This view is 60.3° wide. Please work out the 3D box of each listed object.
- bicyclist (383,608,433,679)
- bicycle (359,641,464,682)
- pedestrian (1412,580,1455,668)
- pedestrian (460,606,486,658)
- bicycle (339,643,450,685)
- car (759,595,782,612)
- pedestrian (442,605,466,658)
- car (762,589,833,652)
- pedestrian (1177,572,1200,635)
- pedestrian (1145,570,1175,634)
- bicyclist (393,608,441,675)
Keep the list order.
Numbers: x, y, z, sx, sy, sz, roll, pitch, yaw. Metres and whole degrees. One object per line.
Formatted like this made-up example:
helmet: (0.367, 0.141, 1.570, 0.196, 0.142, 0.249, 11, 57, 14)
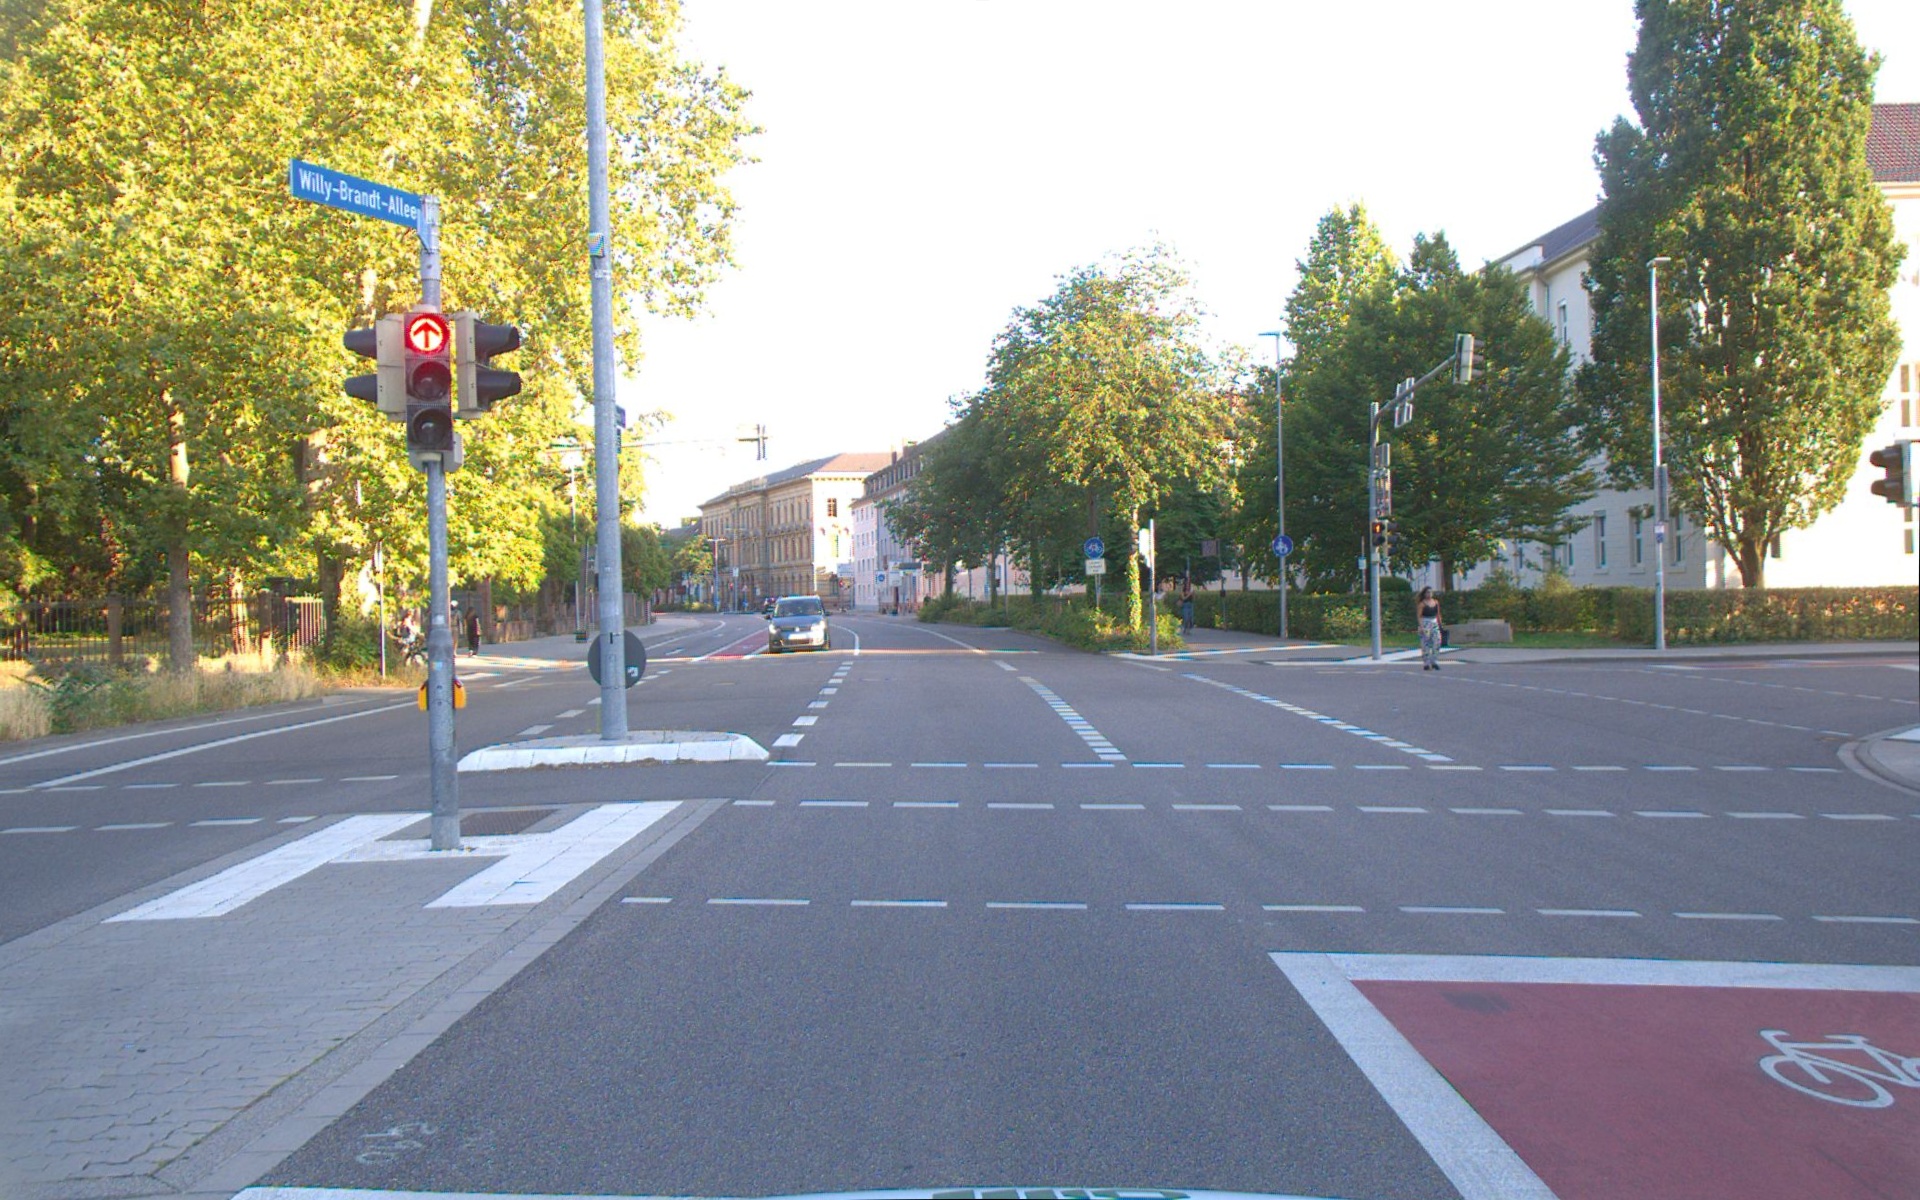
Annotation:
bicyclist: (-13.376, 1.043, 40.104, 0.938, 1.659, 0.752, -1, 0, -1)
bicycle: (-13.871, 1.545, 41.849, 2.380, 0.940, 0.775, -1, 0, 0)
pedestrian: (9.112, 0.448, 31.832, 0.588, 1.664, 0.691, 0, 0, -5)
pedestrian: (-15.107, 0.984, 51.354, 0.587, 1.601, 0.646, -1, 0, -1)
bicycle: (-13.696, 1.548, 40.096, 2.380, 0.940, 0.775, -1, 0, 0)
car: (-19.448, 0.374, 169.504, 1.789, 1.616, 3.984, -2, 0, -15)
pedestrian: (-15.735, 0.987, 51.423, 0.524, 1.624, 0.590, -1, 0, -1)
car: (-4.818, 0.580, 49.573, 1.812, 1.750, 4.294, -1, 0, -2)
pedestrian: (7.496, 0.098, 54.262, 0.622, 2.049, 0.720, 0, 0, -5)
pedestrian: (6.488, 0.065, 53.695, 0.852, 2.049, 0.722, 0, 0, -1)
bicyclist: (-13.730, 1.043, 41.855, 0.938, 1.659, 0.752, -1, 0, -1)
